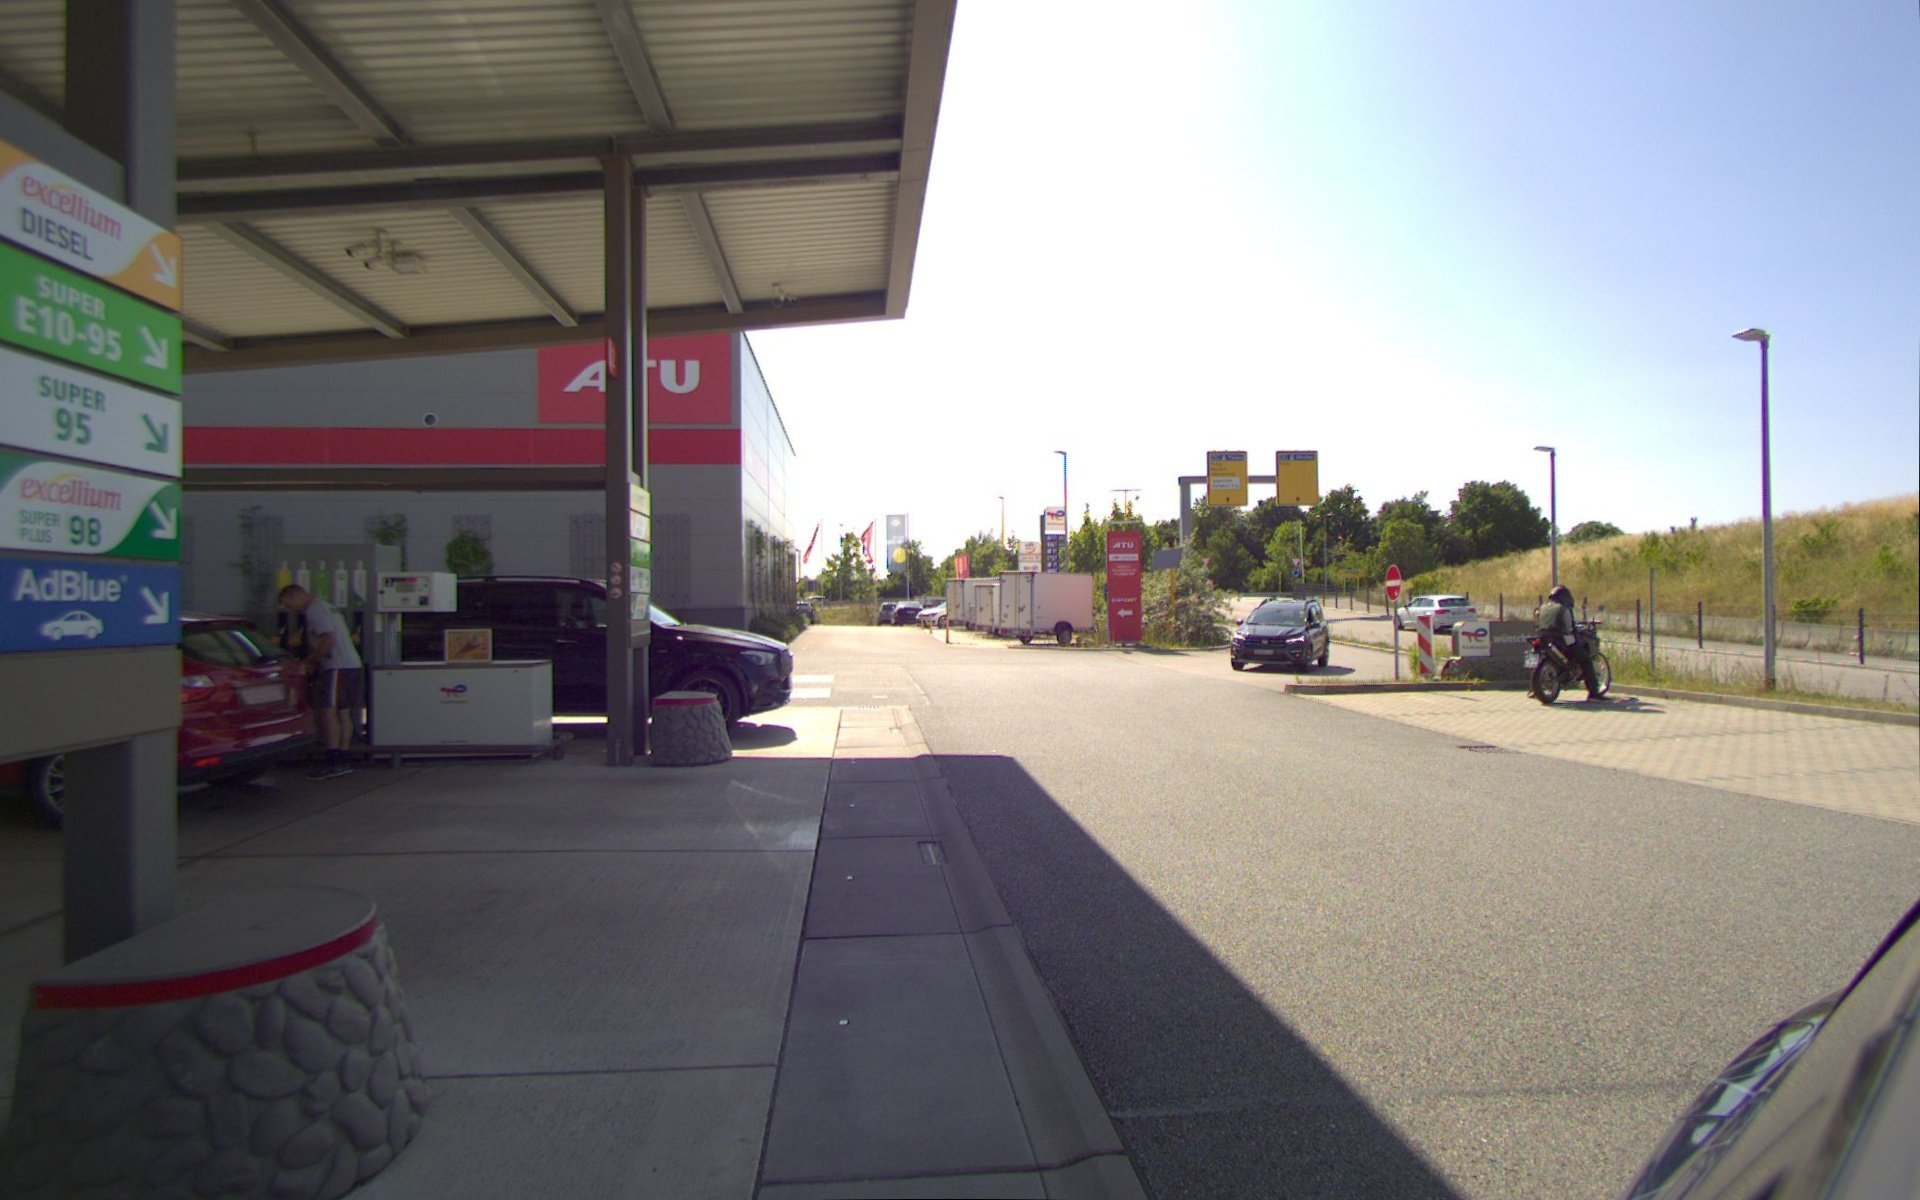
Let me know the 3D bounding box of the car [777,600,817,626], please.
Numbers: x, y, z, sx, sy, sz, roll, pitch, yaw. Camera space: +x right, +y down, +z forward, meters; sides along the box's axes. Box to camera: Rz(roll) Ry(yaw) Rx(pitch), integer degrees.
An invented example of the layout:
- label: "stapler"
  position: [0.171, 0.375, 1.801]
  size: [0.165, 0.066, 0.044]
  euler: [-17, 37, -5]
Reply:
- label: "car"
  position: [-10.265, 0.814, 63.458]
  size: [1.646, 1.561, 3.843]
  euler: [0, 0, -22]

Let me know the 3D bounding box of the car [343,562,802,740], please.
- label: "car"
  position: [-4.323, 0.566, 12.026]
  size: [4.701, 1.874, 2.036]
  euler: [1, 0, -5]

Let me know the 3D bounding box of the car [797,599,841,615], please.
- label: "car"
  position: [-12.657, 0.611, 90.965]
  size: [3.764, 1.384, 1.681]
  euler: [0, 0, 2]

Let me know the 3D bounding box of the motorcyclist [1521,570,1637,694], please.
- label: "motorcyclist"
  position: [8.957, 0.435, 14.662]
  size: [1.077, 1.709, 1.035]
  euler: [0, 0, -30]

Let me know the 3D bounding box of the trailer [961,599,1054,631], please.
- label: "trailer"
  position: [2.020, 0.616, 42.576]
  size: [3.644, 1.297, 1.580]
  euler: [0, 0, -30]

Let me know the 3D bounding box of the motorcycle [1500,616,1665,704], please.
- label: "motorcycle"
  position: [9.078, 0.830, 14.734]
  size: [2.368, 1.120, 1.047]
  euler: [-1, 0, -30]

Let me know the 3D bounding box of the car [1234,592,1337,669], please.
- label: "car"
  position: [7.973, 0.669, 24.514]
  size: [1.726, 1.665, 4.589]
  euler: [0, 0, 26]

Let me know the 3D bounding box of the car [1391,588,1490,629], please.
- label: "car"
  position: [18.575, 0.305, 39.353]
  size: [1.673, 1.441, 4.099]
  euler: [0, 1, -4]

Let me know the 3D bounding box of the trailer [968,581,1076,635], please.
- label: "trailer"
  position: [2.474, 0.317, 39.912]
  size: [3.920, 2.039, 1.804]
  euler: [0, 0, -30]

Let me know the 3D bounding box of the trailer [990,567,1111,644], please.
- label: "trailer"
  position: [3.120, 0.172, 34.459]
  size: [3.933, 2.458, 1.995]
  euler: [0, 0, -43]

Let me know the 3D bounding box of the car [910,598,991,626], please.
- label: "car"
  position: [-0.442, 0.583, 49.780]
  size: [3.766, 1.334, 1.680]
  euler: [0, 0, -39]

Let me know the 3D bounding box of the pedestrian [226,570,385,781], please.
- label: "pedestrian"
  position: [-5.572, 0.621, 8.668]
  size: [0.909, 1.724, 0.704]
  euler: [0, -1, -4]

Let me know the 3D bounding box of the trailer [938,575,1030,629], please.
- label: "trailer"
  position: [1.141, 0.071, 47.832]
  size: [3.922, 2.458, 2.001]
  euler: [0, 0, -33]

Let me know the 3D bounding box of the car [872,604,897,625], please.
- label: "car"
  position: [-5.128, 0.965, 68.506]
  size: [1.648, 1.319, 3.727]
  euler: [0, 0, -4]

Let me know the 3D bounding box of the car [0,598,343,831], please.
- label: "car"
  position: [-7.035, 0.731, 7.248]
  size: [4.147, 1.487, 1.706]
  euler: [0, 0, -5]

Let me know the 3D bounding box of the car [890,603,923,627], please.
- label: "car"
  position: [-3.113, 0.826, 58.188]
  size: [1.647, 1.334, 3.840]
  euler: [0, 0, -7]
